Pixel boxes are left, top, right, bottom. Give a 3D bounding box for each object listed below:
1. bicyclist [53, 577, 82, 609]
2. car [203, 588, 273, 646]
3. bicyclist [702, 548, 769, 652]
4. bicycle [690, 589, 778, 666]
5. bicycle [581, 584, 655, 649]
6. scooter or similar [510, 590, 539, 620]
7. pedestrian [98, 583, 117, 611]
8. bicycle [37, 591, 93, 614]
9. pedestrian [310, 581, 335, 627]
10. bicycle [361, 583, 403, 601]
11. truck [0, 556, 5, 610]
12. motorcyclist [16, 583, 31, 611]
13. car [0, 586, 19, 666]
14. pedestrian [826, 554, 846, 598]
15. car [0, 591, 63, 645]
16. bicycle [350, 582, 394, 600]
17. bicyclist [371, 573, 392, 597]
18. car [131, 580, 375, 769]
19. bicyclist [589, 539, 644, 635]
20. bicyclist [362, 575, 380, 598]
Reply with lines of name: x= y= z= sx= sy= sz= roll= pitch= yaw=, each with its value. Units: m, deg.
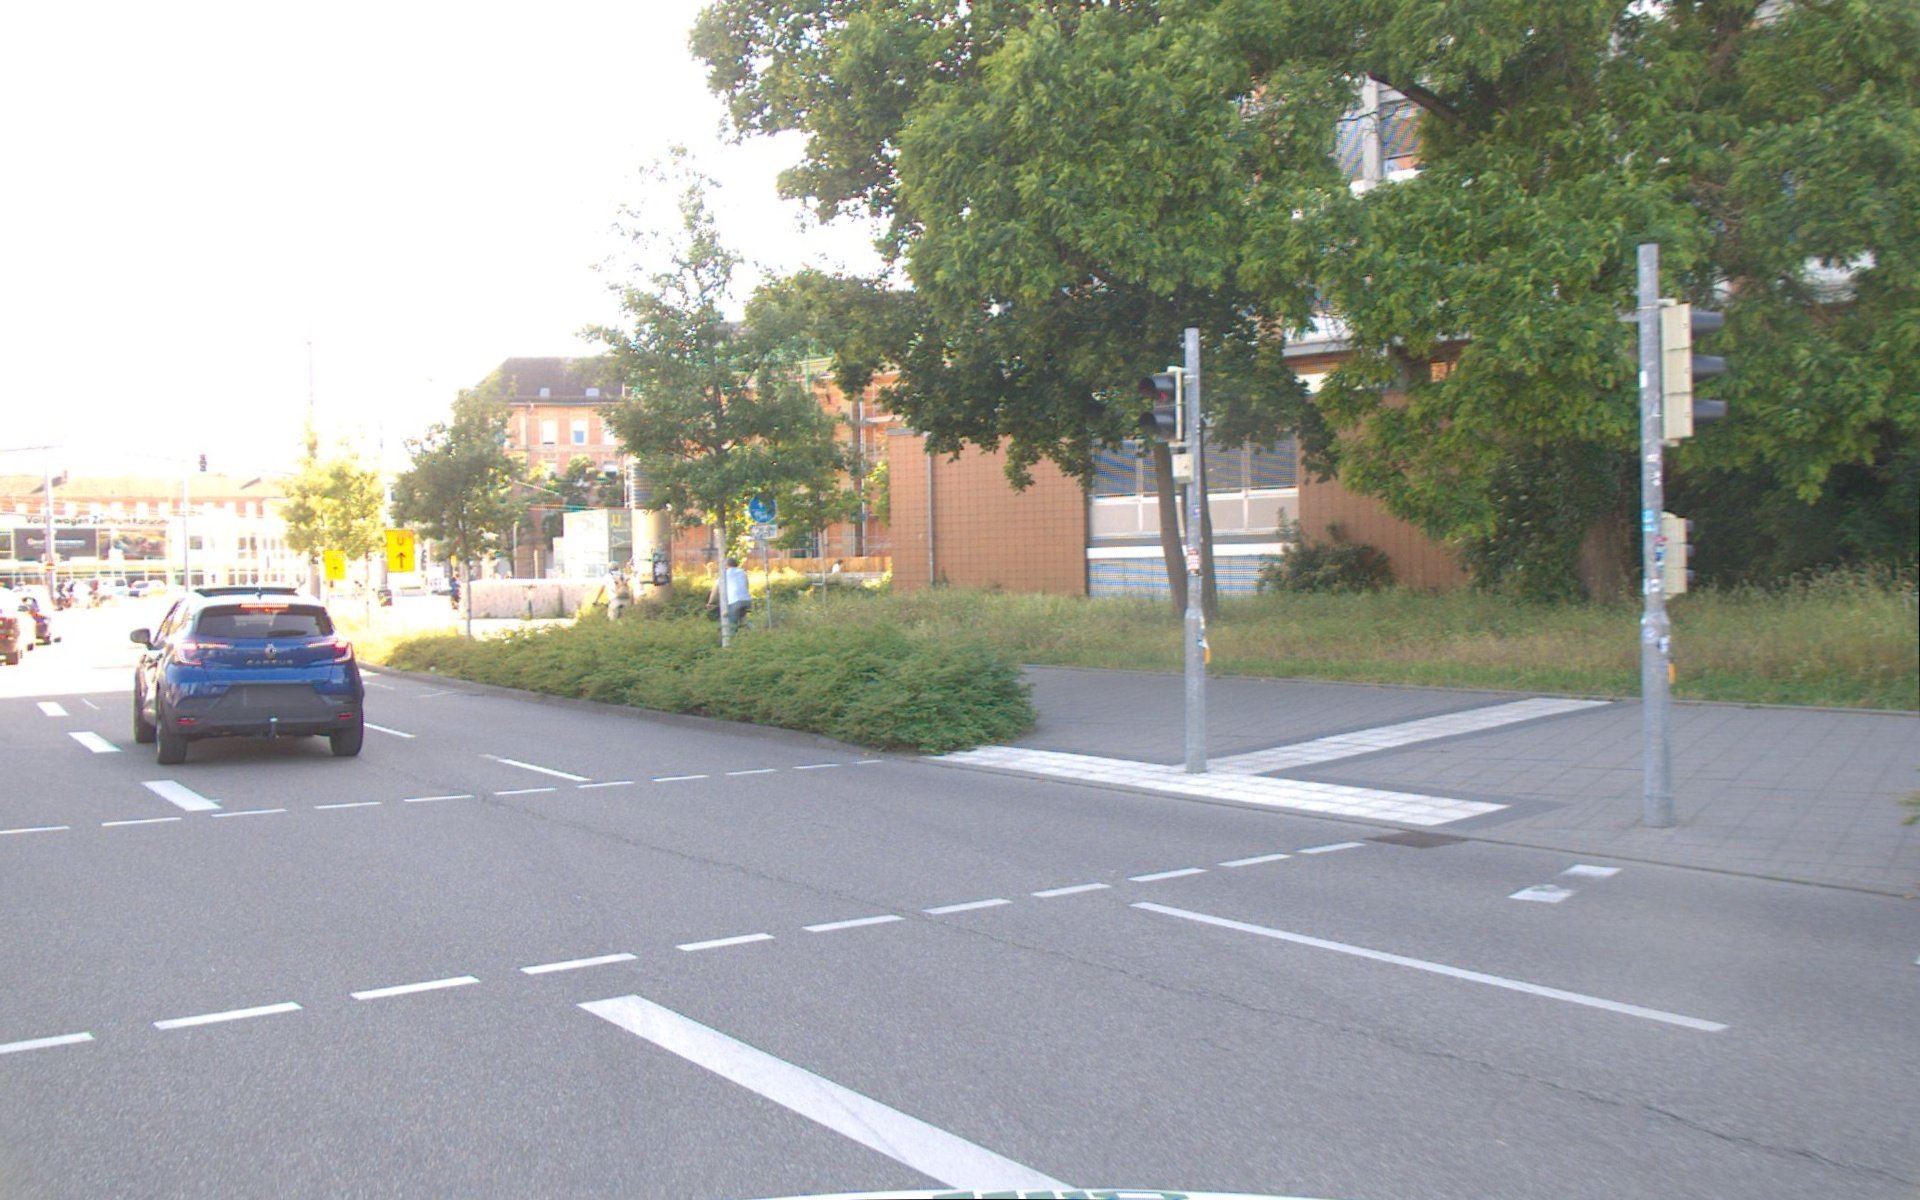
bicyclist: x=-51.286 y=-0.416 z=95.076 sx=0.930 sy=1.807 sz=1.182 roll=2 pitch=3 yaw=39
car: x=-21.415 y=0.484 z=49.170 sx=1.851 sy=1.646 sz=3.599 roll=0 pitch=0 yaw=-23
bicyclist: x=-3.660 y=-0.008 z=26.960 sx=0.713 sy=1.645 sz=0.967 roll=-2 pitch=2 yaw=-33
bicycle: x=-3.708 y=0.422 z=27.050 sx=0.709 sy=1.185 sz=1.849 roll=-2 pitch=2 yaw=-32
bicycle: x=-6.611 y=0.301 z=31.914 sx=0.739 sy=1.185 sz=1.848 roll=-2 pitch=2 yaw=-33
scooter or similar: x=-16.004 y=0.175 z=60.784 sx=1.228 sy=1.030 sz=0.465 roll=3 pitch=3 yaw=43
pedestrian: x=-51.828 y=-0.179 z=100.564 sx=0.686 sy=1.638 sz=0.853 roll=1 pitch=2 yaw=6
bicycle: x=-51.383 y=0.126 z=94.964 sx=0.930 sy=1.209 sz=2.642 roll=2 pitch=3 yaw=39
pedestrian: x=-24.520 y=0.166 z=63.620 sx=0.582 sy=1.753 sz=0.870 roll=-2 pitch=-1 yaw=0
bicycle: x=-39.872 y=-0.559 z=114.101 sx=2.634 sy=1.209 sz=0.932 roll=-2 pitch=3 yaw=-43
truck: x=-42.563 y=-0.671 z=68.495 sx=2.170 sy=2.353 sz=6.881 roll=-1 pitch=1 yaw=-2
motorcyclist: x=-56.553 y=-0.169 z=99.833 sx=0.539 sy=1.649 sz=0.743 roll=-1 pitch=1 yaw=-11
car: x=-21.577 y=0.566 z=35.866 sx=1.963 sy=1.652 sz=4.334 roll=-2 pitch=2 yaw=-30
pedestrian: x=-5.064 y=-0.981 z=67.574 sx=0.770 sy=1.782 sz=0.539 roll=1 pitch=2 yaw=2
car: x=-26.663 y=0.493 z=47.079 sx=1.703 sy=1.468 sz=3.769 roll=1 pitch=0 yaw=-25
bicycle: x=-38.681 y=-0.585 z=108.838 sx=2.616 sy=1.114 sz=0.959 roll=-2 pitch=1 yaw=-31
bicyclist: x=-39.902 y=-1.011 z=114.039 sx=1.058 sy=1.611 sz=0.933 roll=-2 pitch=3 yaw=-43
car: x=-7.147 y=0.661 z=16.516 sx=1.857 sy=1.646 sz=3.760 roll=0 pitch=-1 yaw=-29
bicyclist: x=-6.633 y=-0.258 z=31.914 sx=0.713 sy=1.793 sz=0.966 roll=-2 pitch=2 yaw=-33
bicyclist: x=-38.737 y=-0.889 z=108.803 sx=0.952 sy=1.474 sz=0.959 roll=-2 pitch=1 yaw=-31
